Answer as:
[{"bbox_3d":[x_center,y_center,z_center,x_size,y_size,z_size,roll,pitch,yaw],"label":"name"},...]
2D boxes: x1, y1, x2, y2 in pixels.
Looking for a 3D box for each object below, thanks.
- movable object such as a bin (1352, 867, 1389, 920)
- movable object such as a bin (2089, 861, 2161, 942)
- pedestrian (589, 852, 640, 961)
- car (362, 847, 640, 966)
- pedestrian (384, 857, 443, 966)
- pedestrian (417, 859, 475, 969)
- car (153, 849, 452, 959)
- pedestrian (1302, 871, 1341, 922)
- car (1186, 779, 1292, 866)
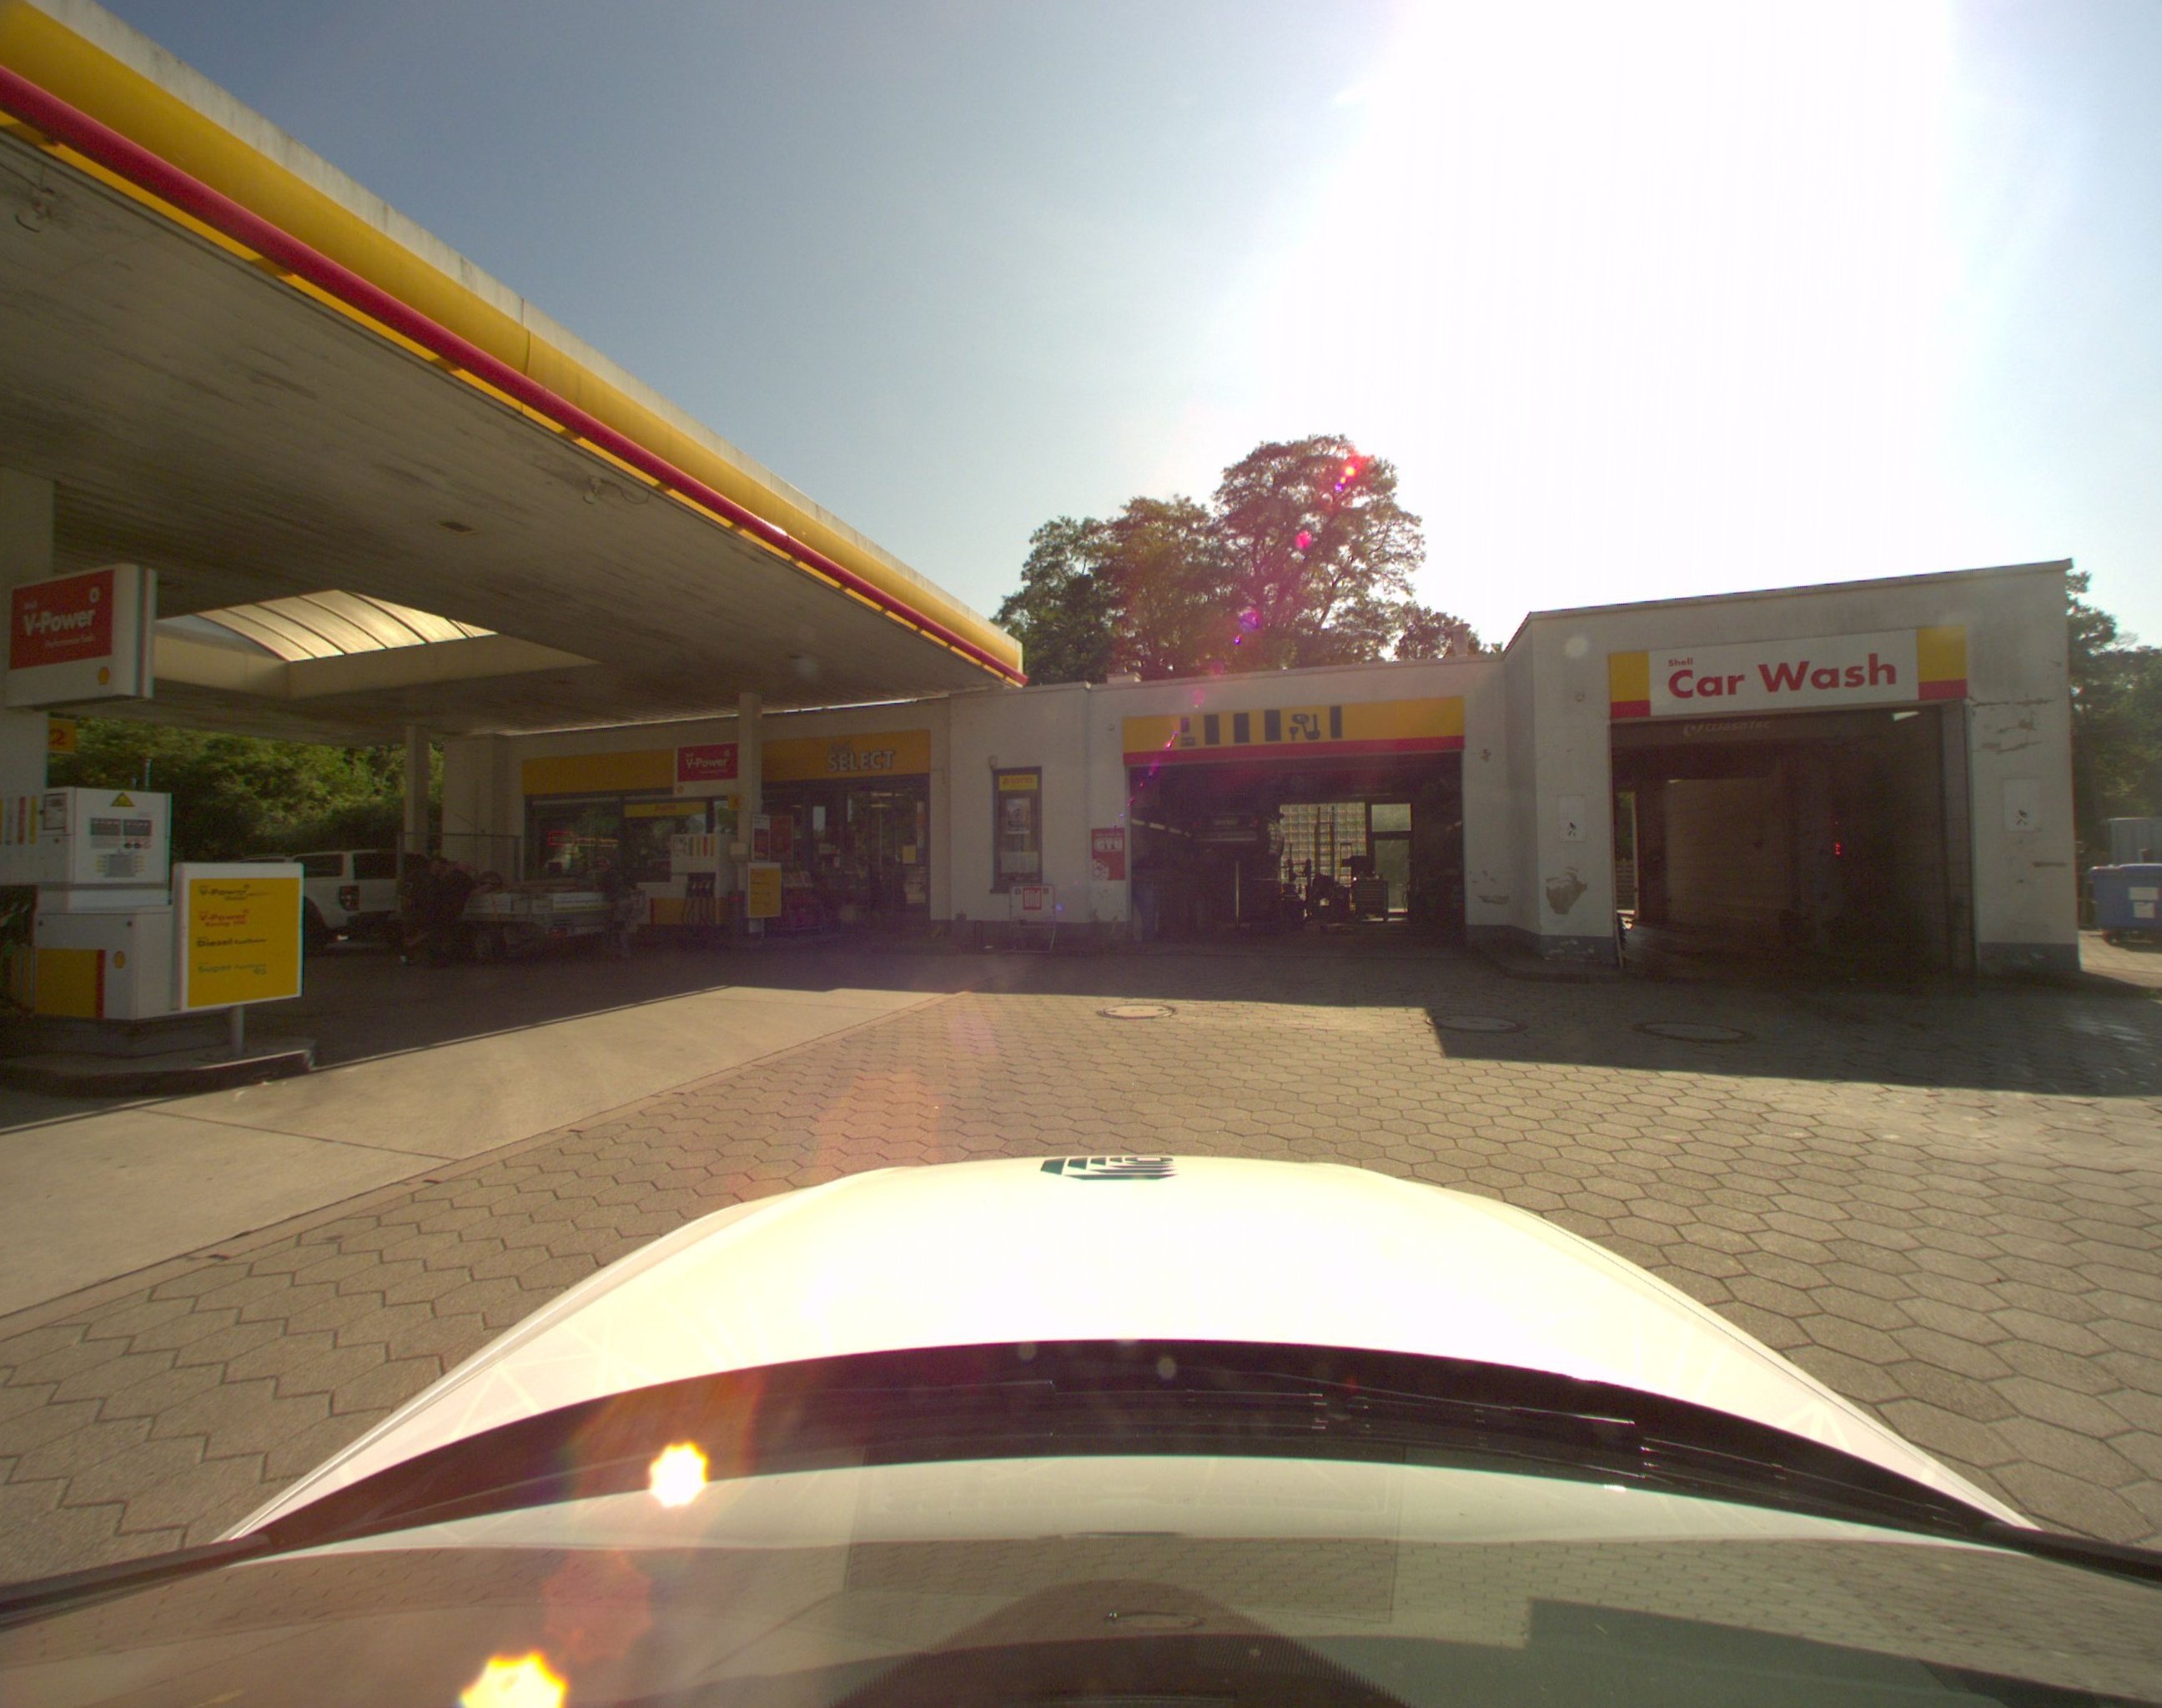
[{"bbox_3d":[6.974,0.956,19.599,0.790,1.236,0.547,-2,-4,20],"label":"movable object such as a bin"},{"bbox_3d":[17.954,0.780,13.619,0.852,1.325,1.223,0,-2,-29],"label":"movable object such as a bin"},{"bbox_3d":[-7.348,0.813,12.843,0.495,1.668,0.478,-1,-2,19],"label":"pedestrian"},{"bbox_3d":[-9.506,0.834,13.377,3.952,1.728,1.843,-2,-2,21],"label":"car"},{"bbox_3d":[-10.214,0.864,12.469,0.470,1.632,0.503,-1,-2,22],"label":"pedestrian"},{"bbox_3d":[-9.432,0.871,12.103,0.470,1.593,0.503,-1,-2,22],"label":"pedestrian"},{"bbox_3d":[-14.430,0.891,15.139,4.728,1.838,1.865,-1,-2,16],"label":"car"},{"bbox_3d":[5.807,1.032,19.670,0.856,1.198,0.746,-2,-4,17],"label":"pedestrian"},{"bbox_3d":[3.553,-0.570,17.795,1.633,1.486,4.019,-2,-4,20],"label":"car"}]
